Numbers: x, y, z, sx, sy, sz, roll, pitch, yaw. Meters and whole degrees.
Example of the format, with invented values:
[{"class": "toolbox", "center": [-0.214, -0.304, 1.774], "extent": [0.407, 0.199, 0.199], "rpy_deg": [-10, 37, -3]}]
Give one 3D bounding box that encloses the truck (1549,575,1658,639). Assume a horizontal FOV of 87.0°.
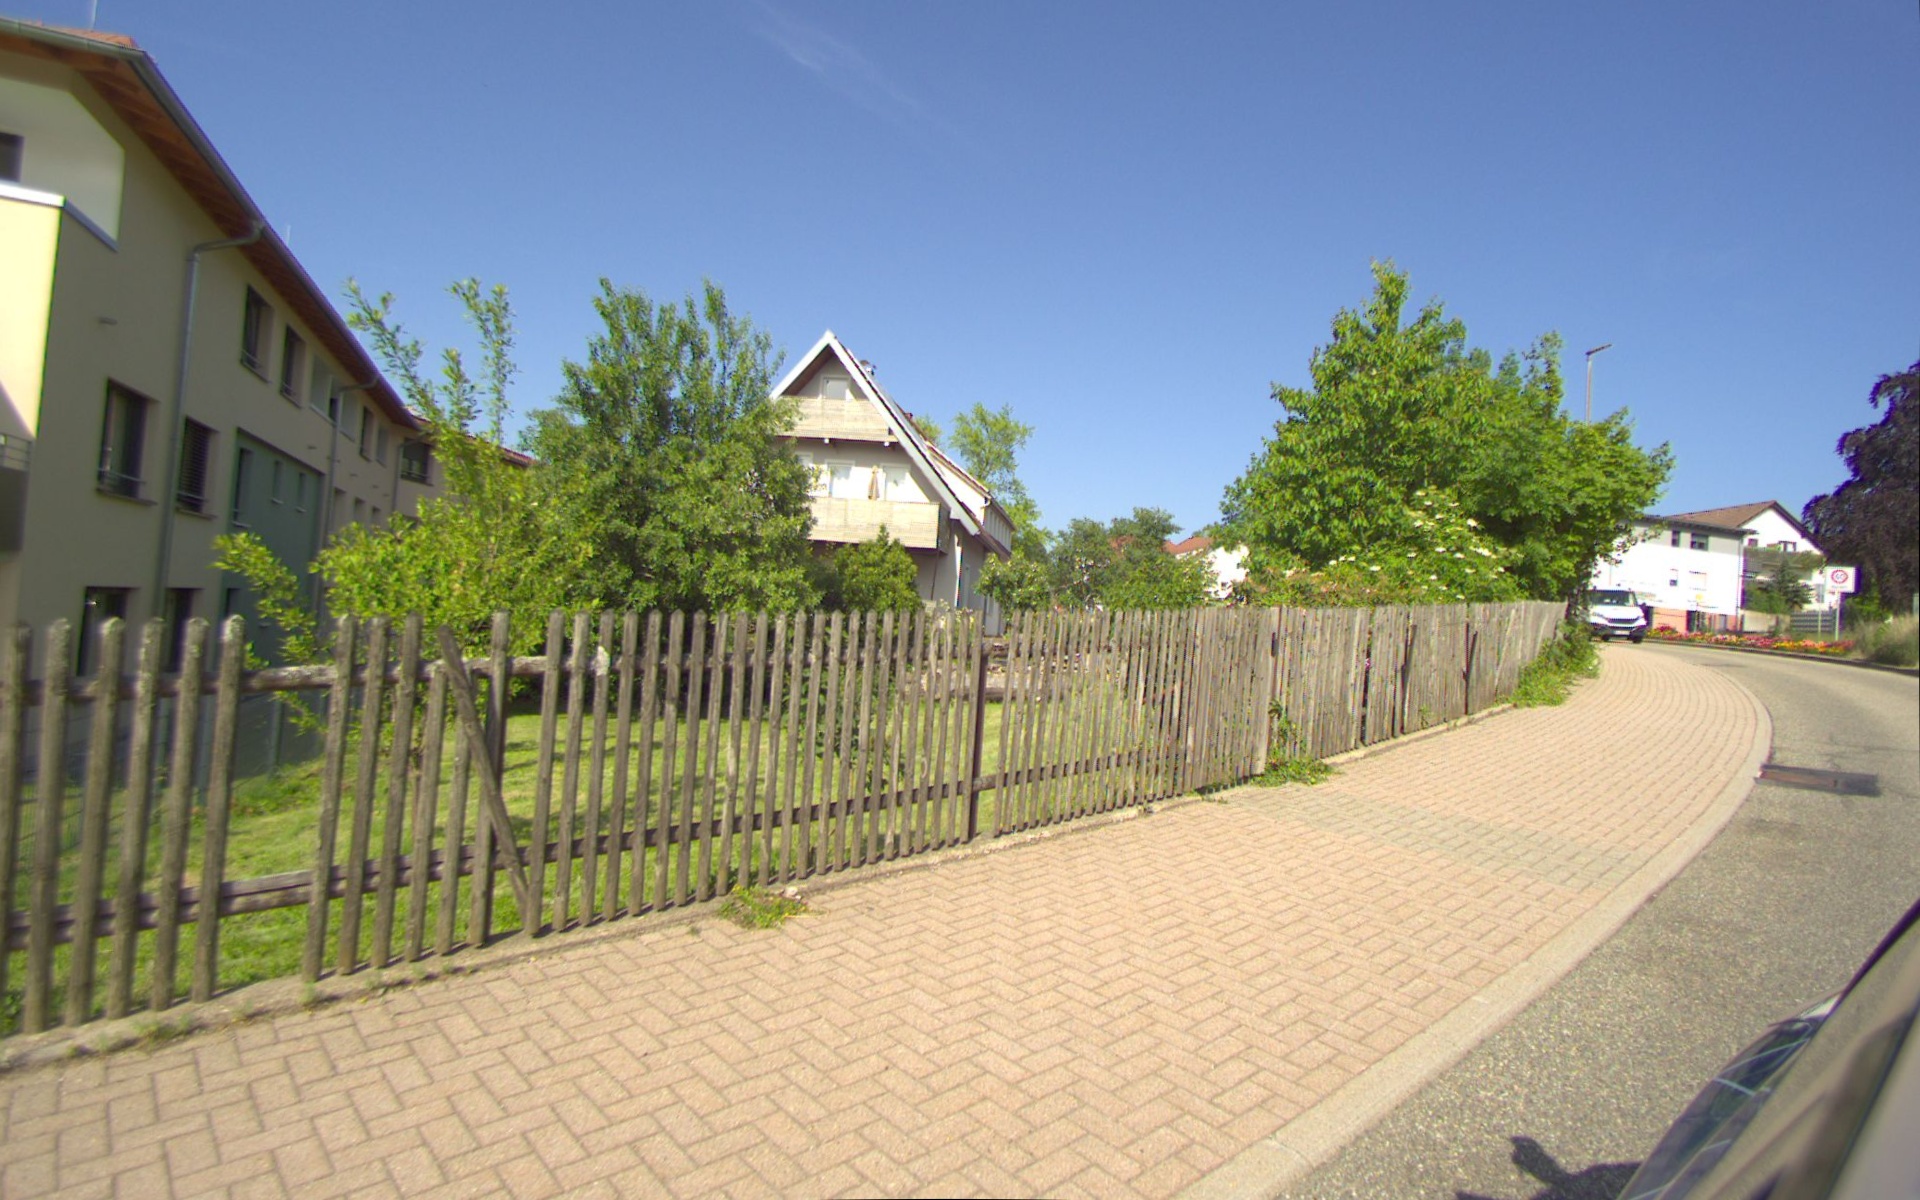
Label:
[{"class": "truck", "center": [26.180, 0.393, 41.466], "extent": [1.972, 2.372, 6.457], "rpy_deg": [-1, -2, 16]}]
